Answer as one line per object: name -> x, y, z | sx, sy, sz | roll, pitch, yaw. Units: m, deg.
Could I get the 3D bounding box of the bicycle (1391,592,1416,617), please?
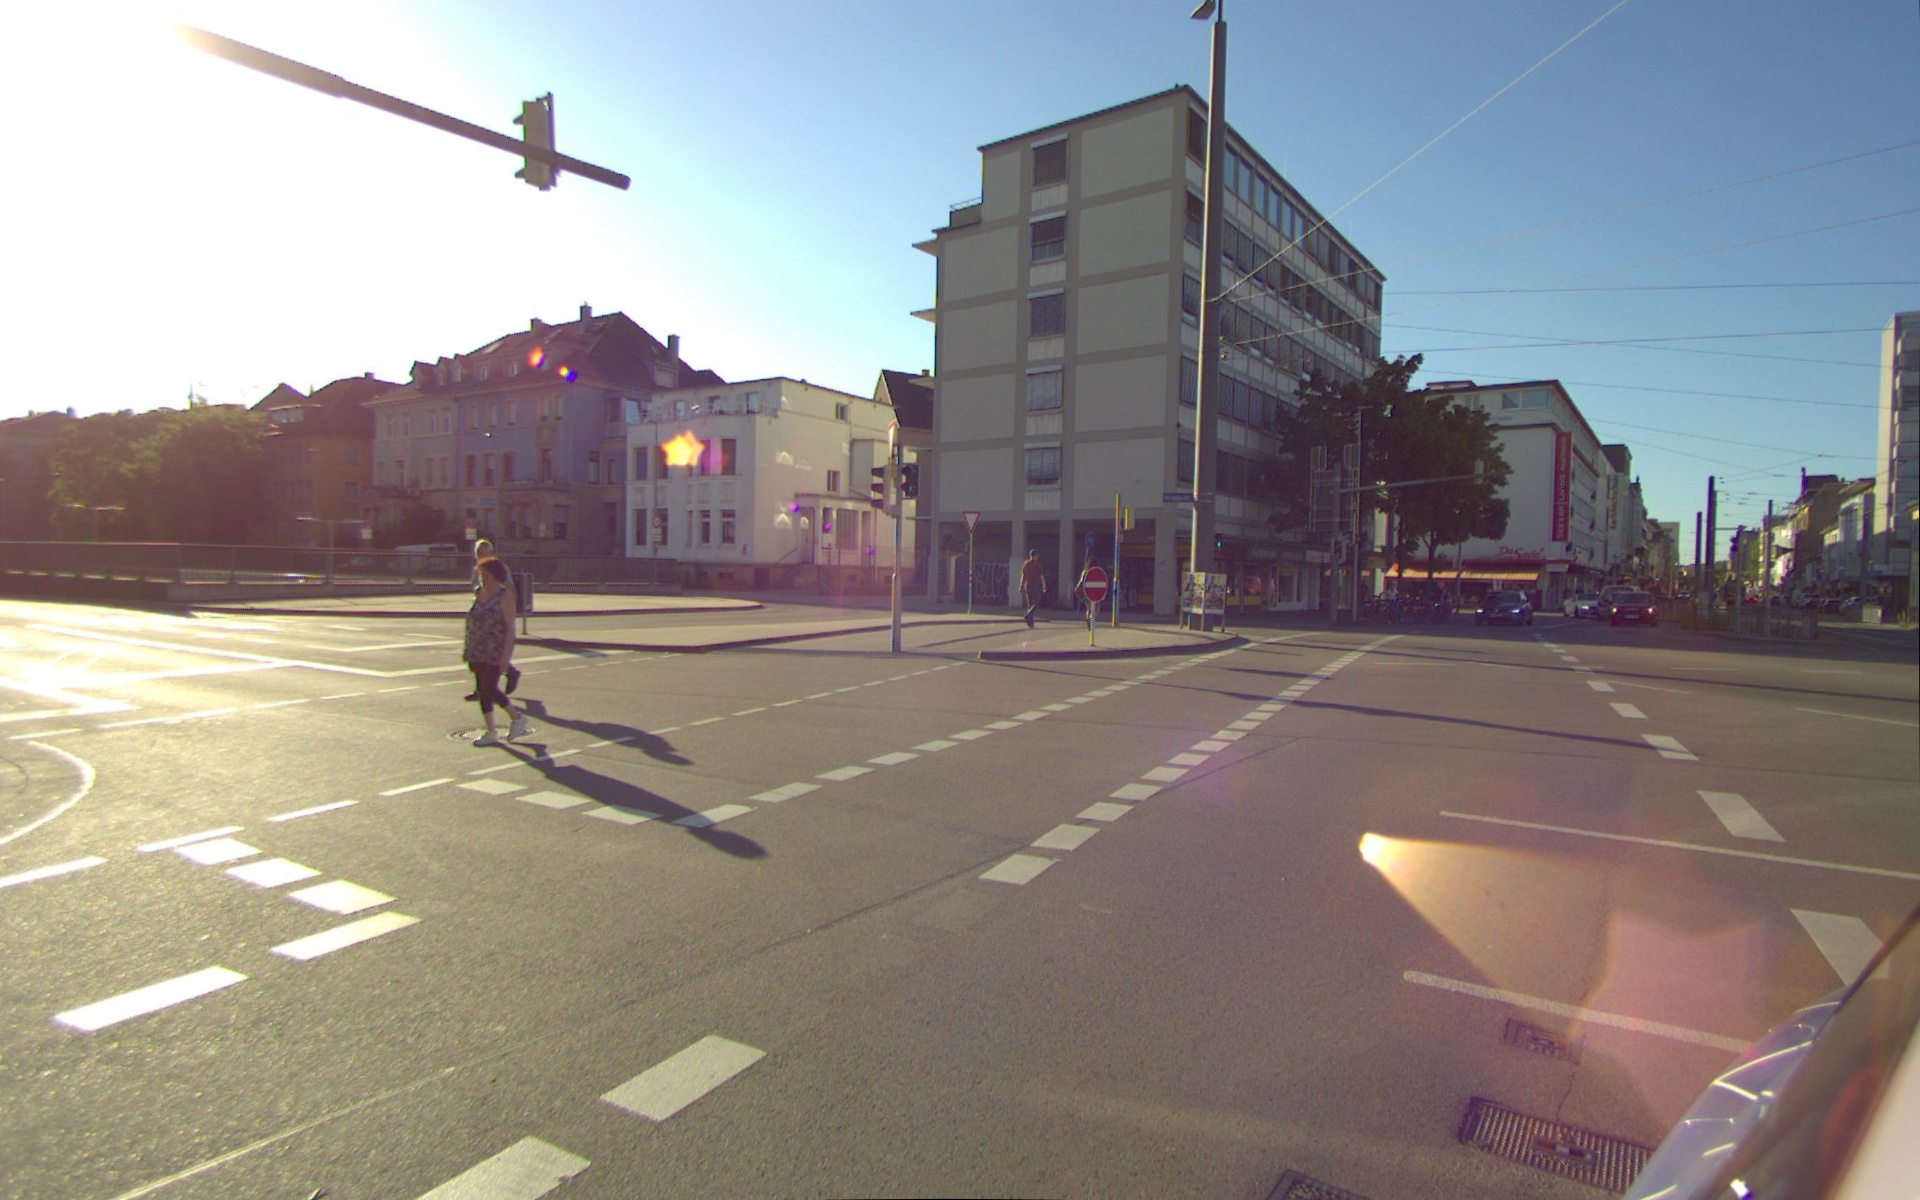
bicycle -> 17.855, 0.188, 40.744 | 0.665, 0.952, 2.008 | 2, 0, 31

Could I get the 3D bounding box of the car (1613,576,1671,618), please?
car -> 28.926, -0.107, 42.883 | 1.833, 1.638, 3.947 | 2, 0, 36

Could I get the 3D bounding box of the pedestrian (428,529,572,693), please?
pedestrian -> -5.225, 0.114, 11.550 | 0.848, 1.753, 1.187 | 2, 0, 27

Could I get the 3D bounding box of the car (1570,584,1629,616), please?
car -> 34.814, 0.022, 55.209 | 1.821, 1.638, 3.974 | 2, 0, 19

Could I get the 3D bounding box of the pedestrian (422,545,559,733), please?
pedestrian -> -3.963, 0.315, 8.603 | 0.674, 1.483, 0.856 | -3, 0, 3

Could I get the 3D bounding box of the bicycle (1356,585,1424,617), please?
bicycle -> 18.824, 0.034, 44.320 | 2.615, 1.157, 0.745 | 5, 1, 26

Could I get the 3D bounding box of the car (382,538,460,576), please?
car -> -33.395, -2.681, 62.671 | 4.801, 2.199, 2.265 | 2, 0, 34

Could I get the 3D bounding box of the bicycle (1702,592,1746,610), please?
bicycle -> 43.334, 0.074, 57.414 | 1.953, 0.960, 0.724 | 2, 0, 0

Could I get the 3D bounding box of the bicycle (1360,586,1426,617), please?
bicycle -> 19.405, 0.056, 45.357 | 2.615, 1.157, 0.745 | 5, 1, 26

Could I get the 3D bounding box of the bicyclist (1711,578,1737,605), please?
bicyclist -> 43.325, -0.465, 57.428 | 0.881, 1.476, 0.724 | 2, 0, 0

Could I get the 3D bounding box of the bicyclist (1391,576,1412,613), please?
bicyclist -> 17.593, -0.219, 40.335 | 0.666, 1.442, 0.674 | 2, 0, 31

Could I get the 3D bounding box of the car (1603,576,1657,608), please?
car -> 42.016, -0.474, 63.420 | 4.550, 1.865, 1.899 | 2, 0, -45

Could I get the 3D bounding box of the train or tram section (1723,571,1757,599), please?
train or tram section -> 113.989, -2.147, 148.082 | 3.695, 3.881, 13.182 | 2, 2, 37

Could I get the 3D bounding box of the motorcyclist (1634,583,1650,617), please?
motorcyclist -> 31.108, -0.001, 46.161 | 0.532, 1.528, 0.456 | 2, 0, 37

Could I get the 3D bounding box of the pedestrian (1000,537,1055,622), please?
pedestrian -> 1.588, -0.468, 23.595 | 0.848, 1.908, 1.187 | 2, 0, 27

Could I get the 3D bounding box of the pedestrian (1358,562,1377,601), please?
pedestrian -> 21.345, -0.980, 53.046 | 0.712, 2.039, 0.618 | 2, 0, 41

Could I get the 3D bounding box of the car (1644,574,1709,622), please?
car -> 26.421, -0.041, 37.279 | 1.833, 1.638, 3.947 | 2, 0, 36

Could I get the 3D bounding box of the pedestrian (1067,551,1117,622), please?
pedestrian -> 2.824, -0.294, 21.646 | 0.848, 1.471, 0.700 | 2, 0, 28

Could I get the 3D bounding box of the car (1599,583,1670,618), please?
car -> 33.344, 0.031, 50.130 | 1.819, 1.638, 3.977 | 2, 0, 17

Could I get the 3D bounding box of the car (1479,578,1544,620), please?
car -> 23.032, -0.008, 42.226 | 1.833, 1.638, 4.027 | 2, 0, 36

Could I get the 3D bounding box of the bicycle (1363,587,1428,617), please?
bicycle -> 19.894, 0.067, 46.262 | 2.615, 1.157, 0.745 | 5, 1, 26
